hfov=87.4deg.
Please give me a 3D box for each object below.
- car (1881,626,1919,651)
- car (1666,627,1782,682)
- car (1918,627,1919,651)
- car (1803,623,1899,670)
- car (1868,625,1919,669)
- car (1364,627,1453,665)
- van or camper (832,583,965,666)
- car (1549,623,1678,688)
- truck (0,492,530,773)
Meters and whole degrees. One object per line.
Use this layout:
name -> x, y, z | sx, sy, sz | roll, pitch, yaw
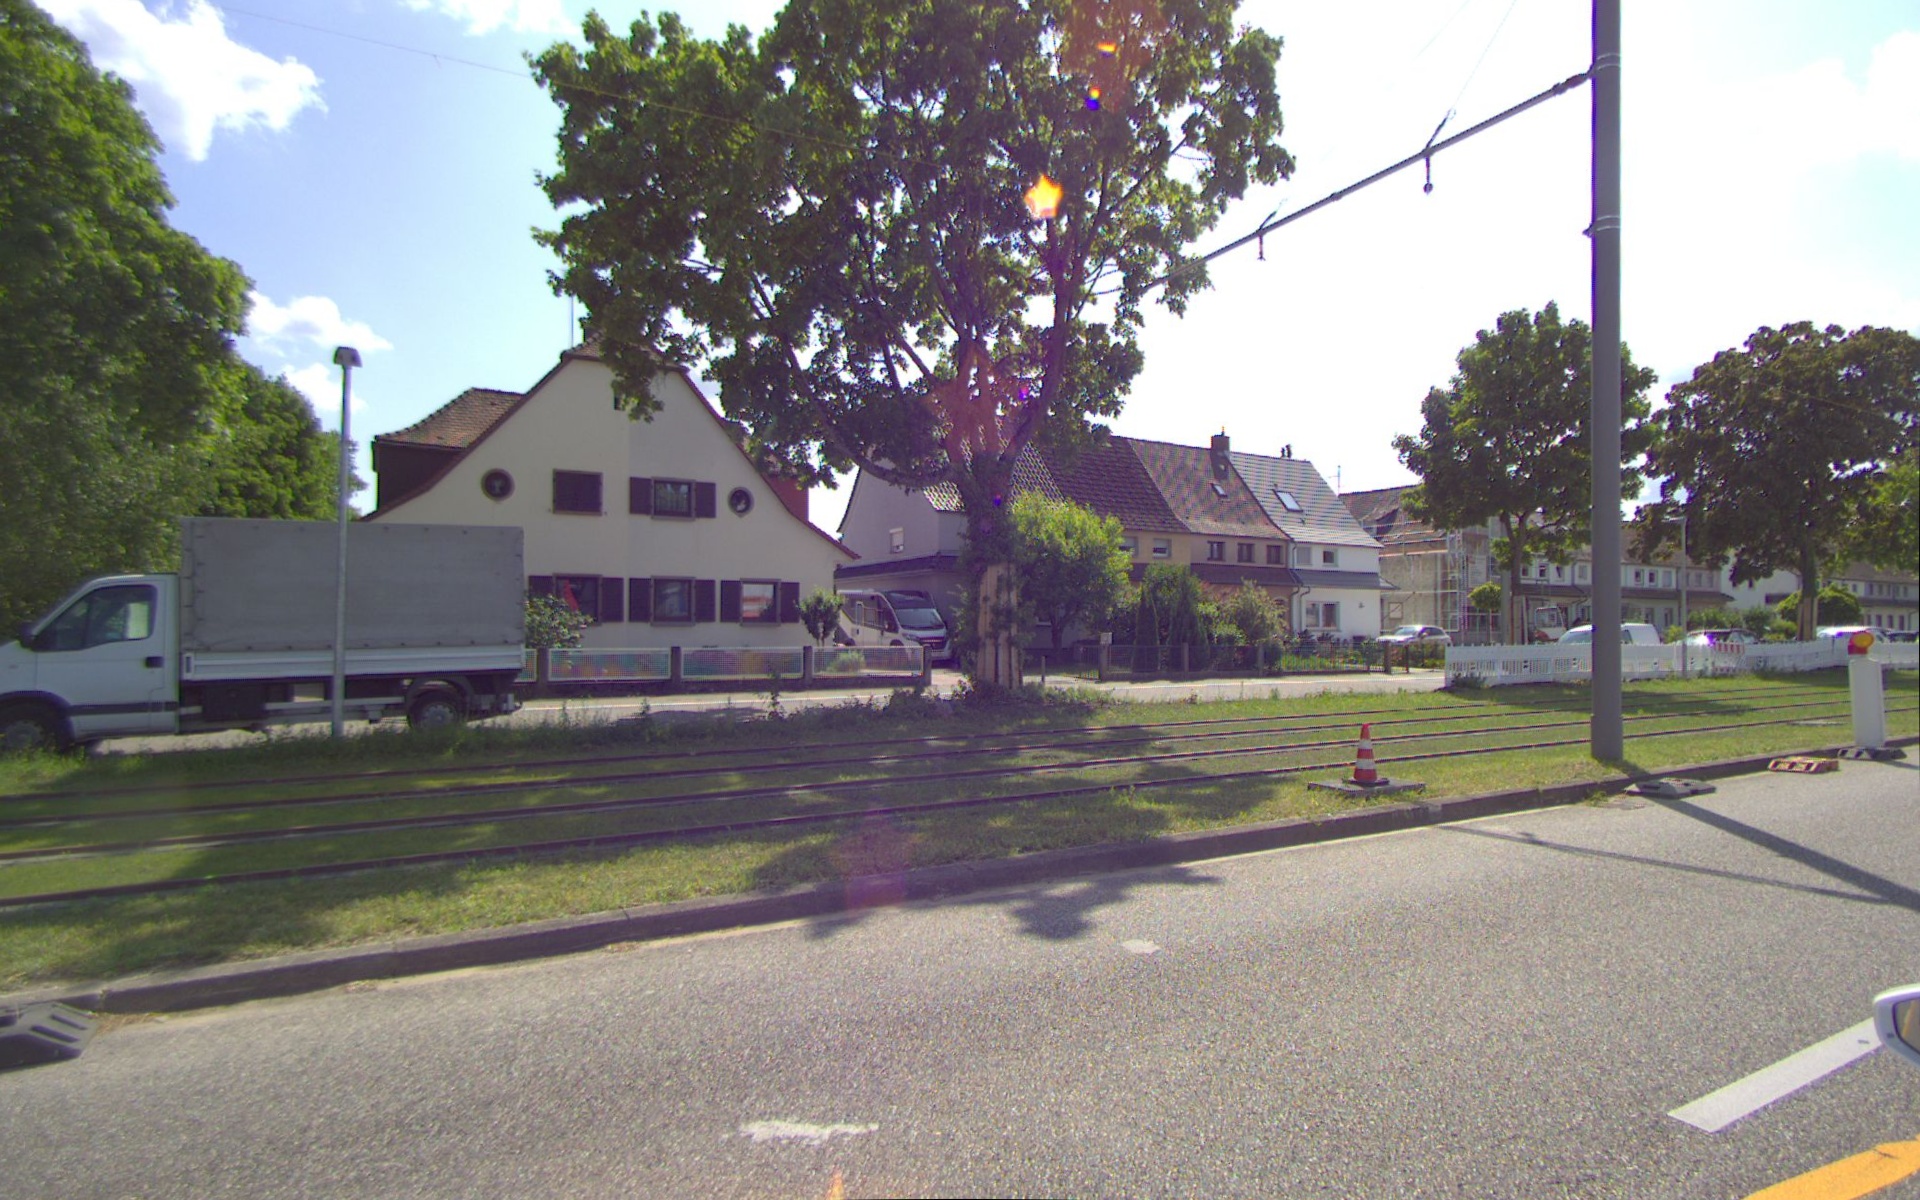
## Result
car -> 66.747, 2.688, 70.725 | 4.013, 1.762, 1.691 | 1, -2, -30
car -> 25.742, 1.802, 33.820 | 4.006, 1.762, 1.691 | 1, -2, -30
car -> 72.130, 2.852, 73.661 | 4.013, 1.762, 1.691 | 1, -2, -30
car -> 34.961, 1.806, 39.406 | 3.814, 1.762, 1.691 | 1, -2, -30
car -> 40.385, 1.964, 42.594 | 3.814, 1.762, 1.691 | 1, -2, -30
car -> 19.885, 1.996, 44.473 | 3.814, 1.614, 1.691 | 1, -2, -30
van or camper -> -2.354, 0.909, 36.643 | 2.224, 2.745, 5.963 | 1, -2, -33
car -> 19.497, 1.606, 29.953 | 3.814, 1.841, 1.691 | 1, -2, -30
truck -> -8.801, 0.414, 12.927 | 5.805, 3.027, 1.994 | 1, -2, -30
